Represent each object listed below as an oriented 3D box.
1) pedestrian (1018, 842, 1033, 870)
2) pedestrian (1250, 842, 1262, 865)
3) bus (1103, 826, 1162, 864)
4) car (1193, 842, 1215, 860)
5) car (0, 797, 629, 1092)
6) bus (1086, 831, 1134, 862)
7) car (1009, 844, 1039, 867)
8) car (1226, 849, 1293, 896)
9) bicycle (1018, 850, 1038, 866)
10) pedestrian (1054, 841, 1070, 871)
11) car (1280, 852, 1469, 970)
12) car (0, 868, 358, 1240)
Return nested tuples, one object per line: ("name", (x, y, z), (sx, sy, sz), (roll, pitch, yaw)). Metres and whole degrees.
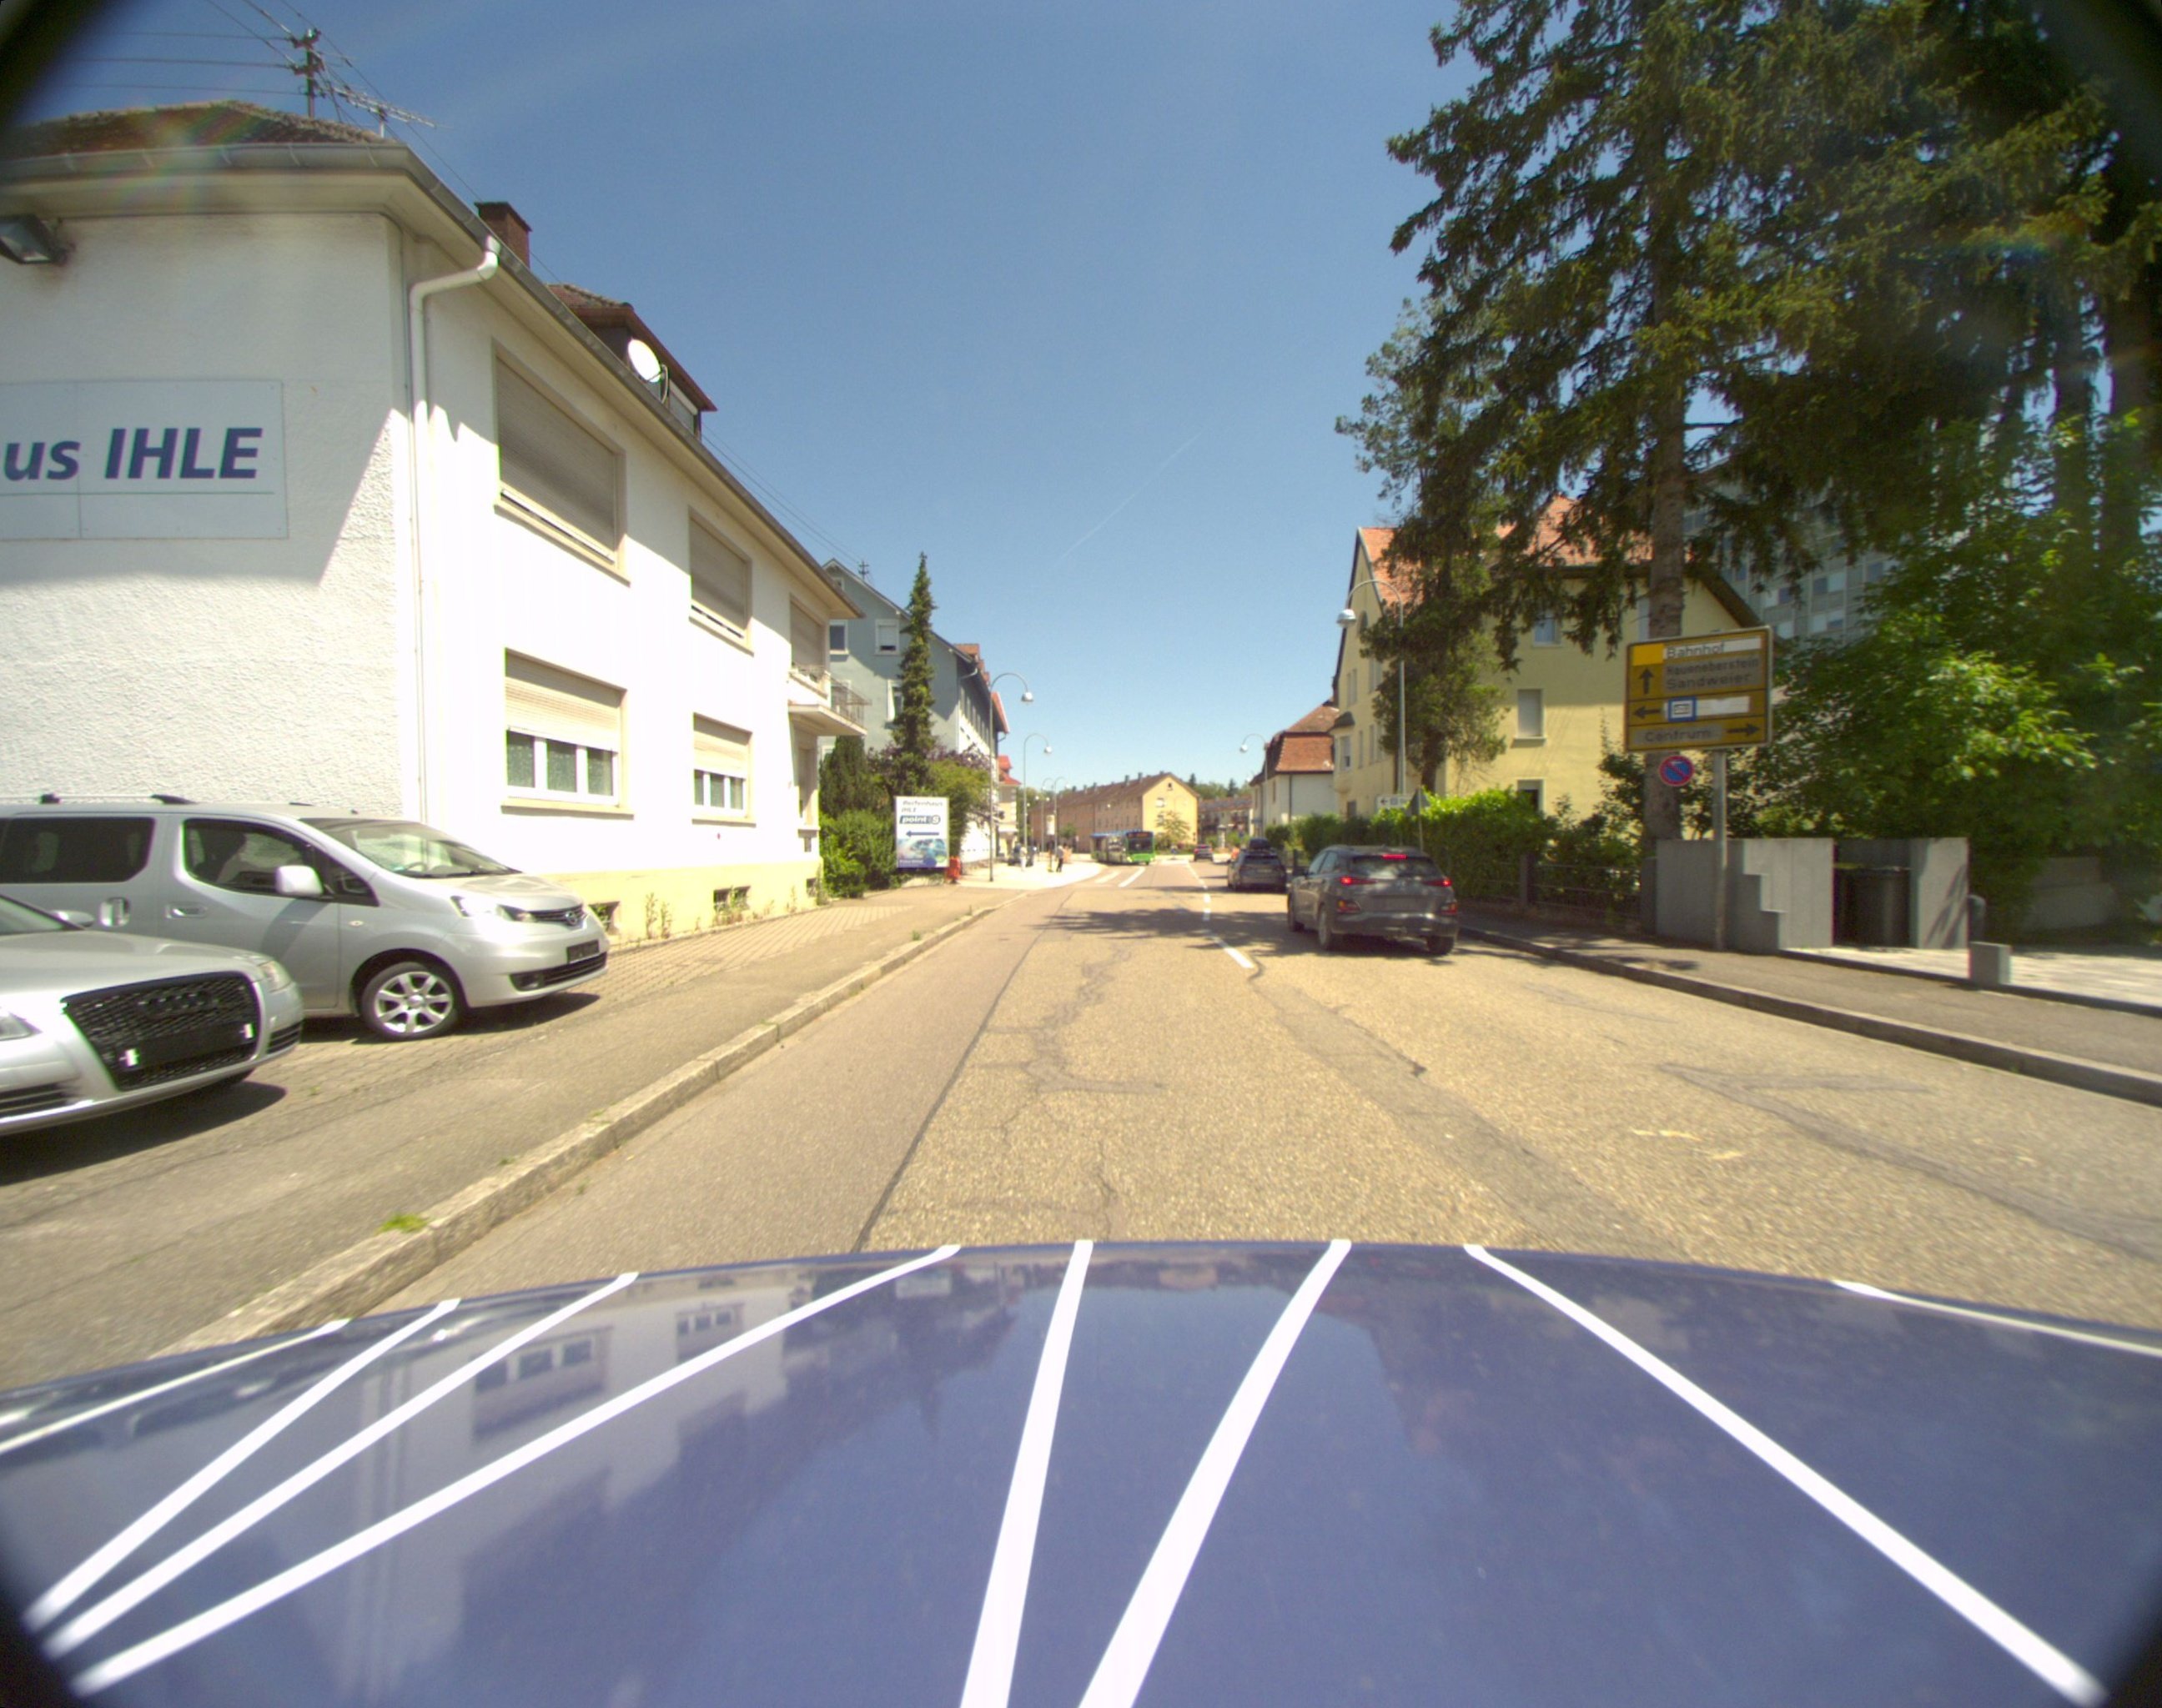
("pedestrian", (-3.312, 0.117, 45.586), (0.614, 1.606, 0.751), (2, 1, 17))
("pedestrian", (12.366, -0.068, 53.633), (0.614, 1.555, 0.824), (-5, 1, 5))
("bus", (4.531, -0.757, 70.347), (2.913, 3.062, 12.552), (-2, 0, -8))
("car", (11.748, -0.293, 72.781), (1.857, 1.607, 4.298), (-1, 1, 7))
("car", (-6.336, 0.617, 6.021), (4.304, 1.820, 1.738), (-3, 1, -8))
("bus", (2.999, -0.777, 82.811), (2.931, 3.044, 12.553), (-2, 0, -8))
("car", (-4.184, 0.094, 56.412), (1.762, 1.505, 3.741), (3, 1, 1))
("car", (6.333, 0.600, 27.396), (1.809, 1.480, 4.388), (2, 1, 6))
("bicycle", (-3.662, 0.262, 52.392), (0.632, 1.033, 1.886), (3, 1, 20))
("pedestrian", (-1.172, 0.102, 46.740), (0.751, 1.795, 0.615), (3, 2, -14))
("car", (4.479, 0.762, 12.296), (1.744, 1.496, 4.144), (2, 1, 5))
("car", (-6.496, 0.905, 3.480), (4.651, 1.401, 1.769), (-3, 1, 1))
